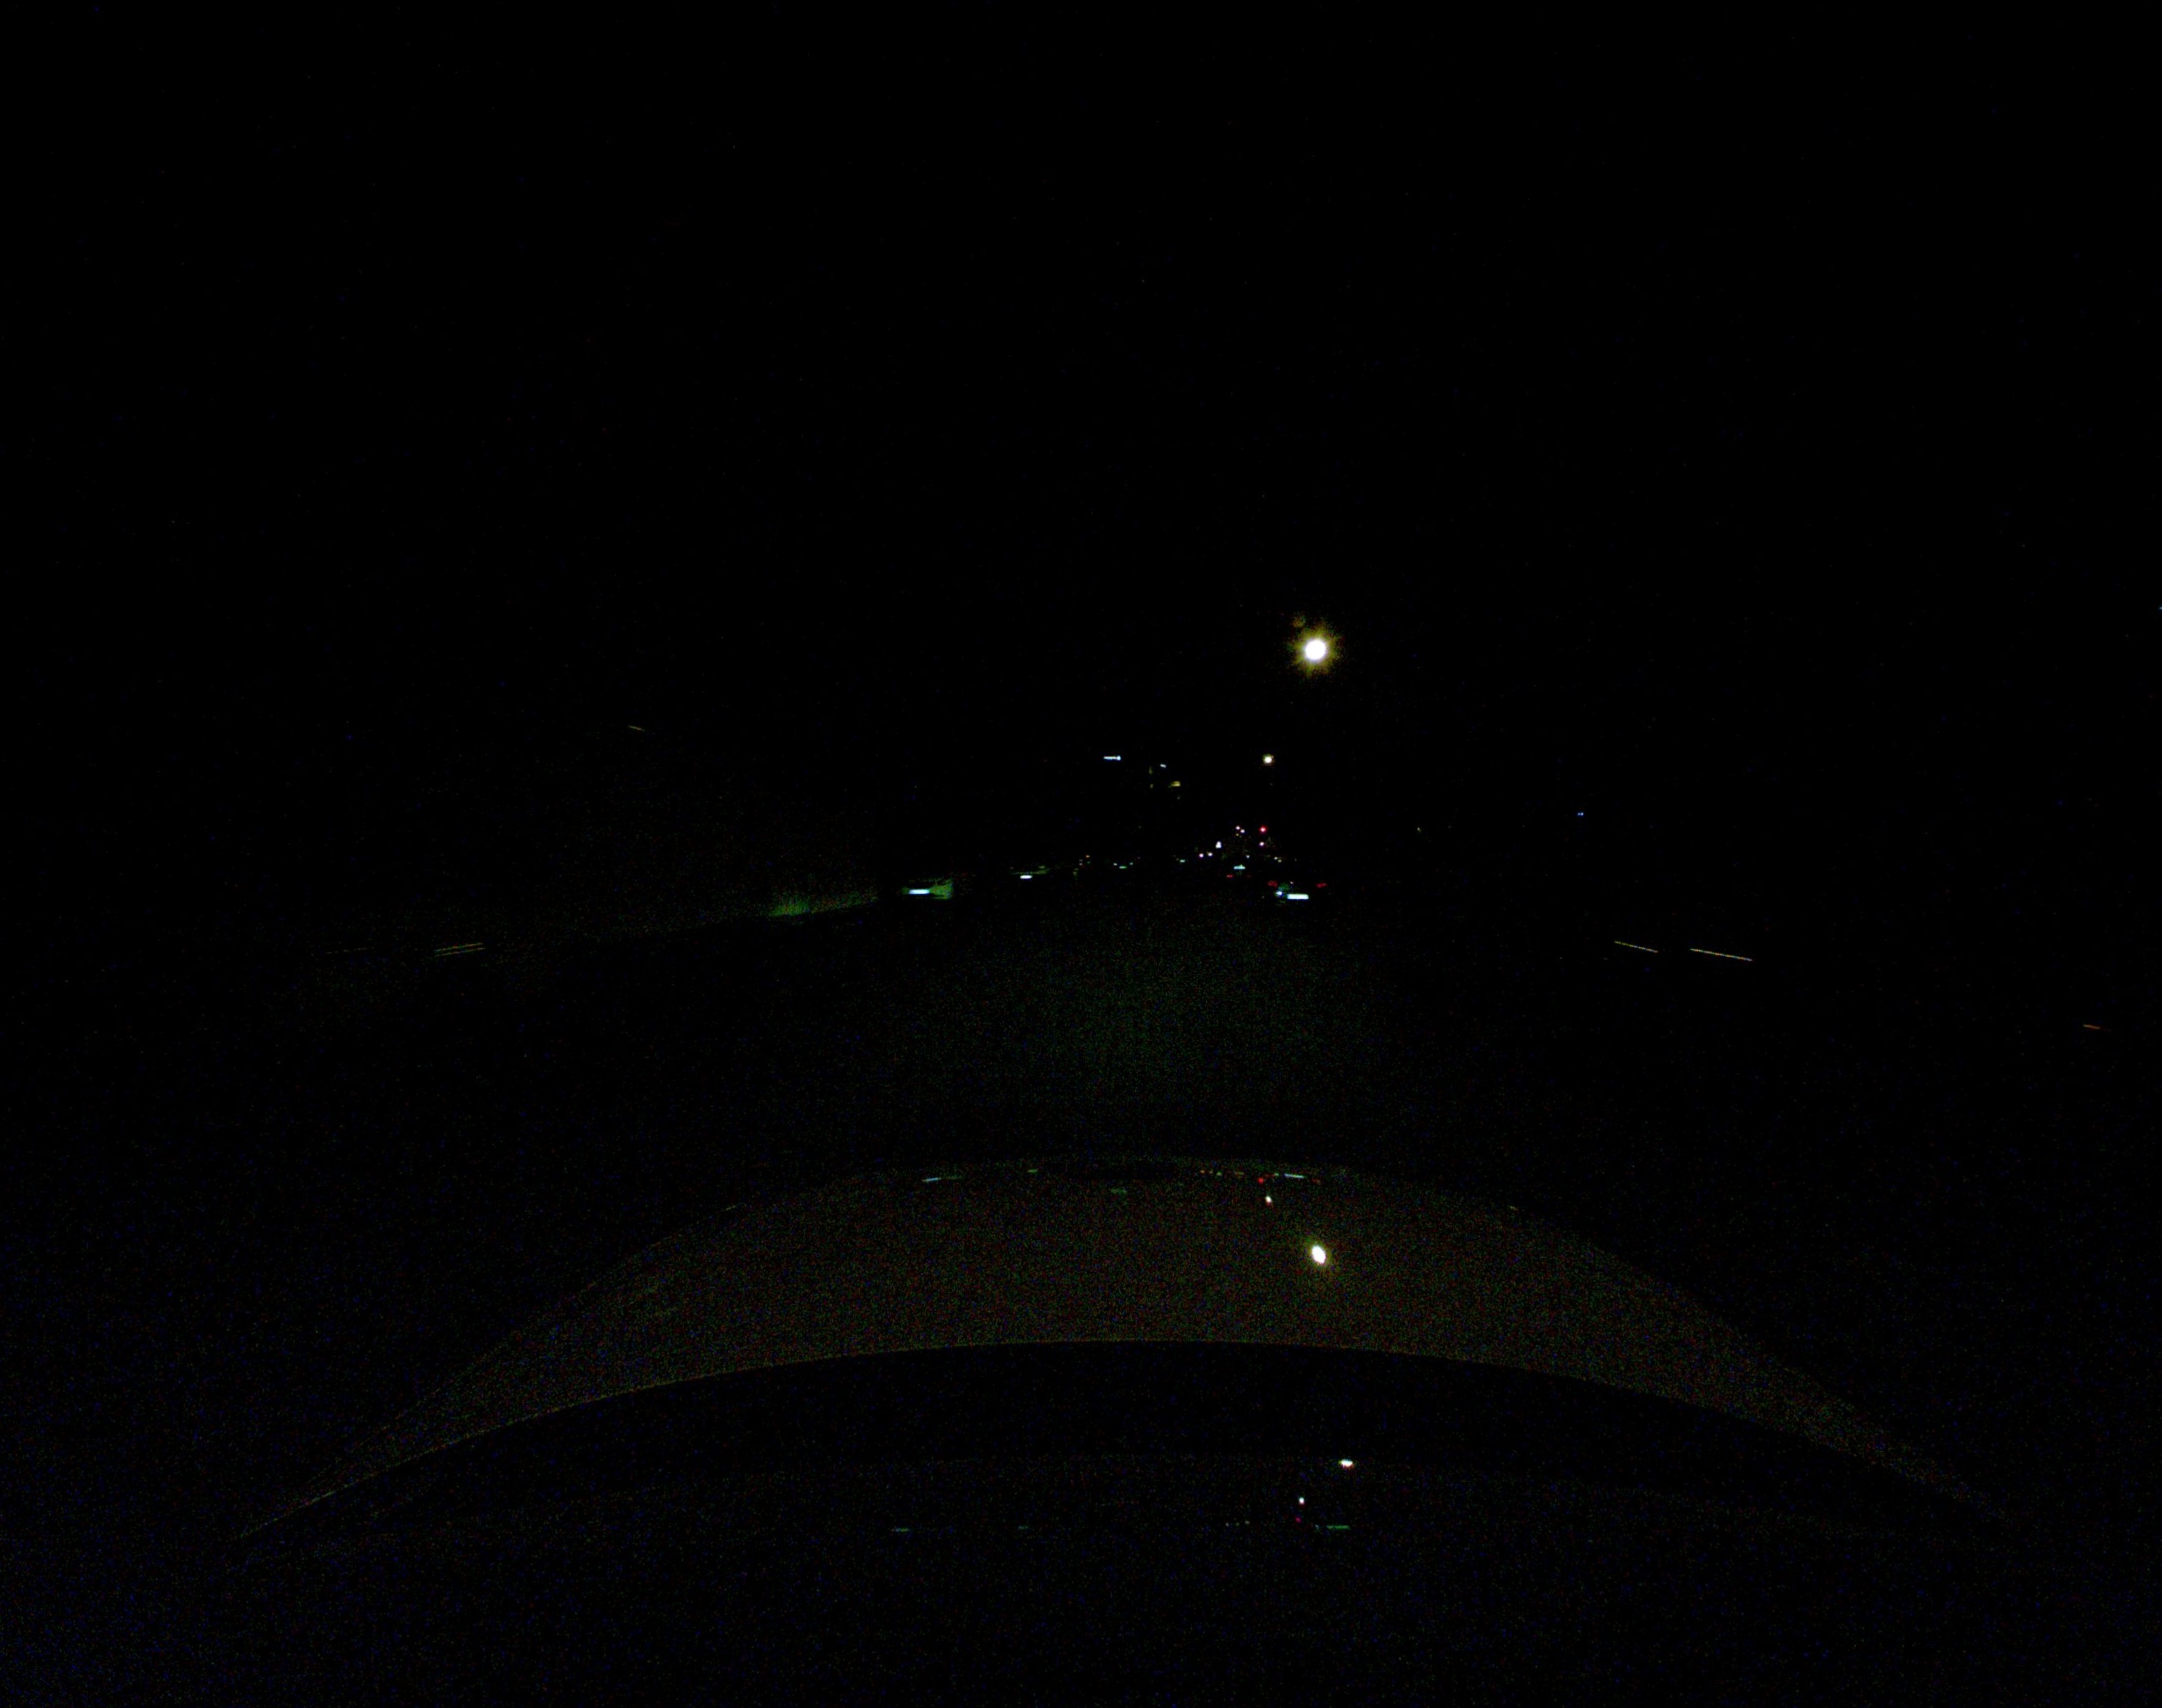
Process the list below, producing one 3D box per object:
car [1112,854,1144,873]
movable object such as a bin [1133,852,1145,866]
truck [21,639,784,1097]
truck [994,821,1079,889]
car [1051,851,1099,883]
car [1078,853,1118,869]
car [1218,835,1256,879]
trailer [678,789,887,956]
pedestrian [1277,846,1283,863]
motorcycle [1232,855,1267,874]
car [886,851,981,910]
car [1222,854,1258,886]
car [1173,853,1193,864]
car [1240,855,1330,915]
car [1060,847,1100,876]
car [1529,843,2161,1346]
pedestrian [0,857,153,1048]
[{"bbox_3d":[3.990,0.792,67.996,1.742,1.526,4.340,0,-1,16],"label":"car"},{"bbox_3d":[6.749,0.592,94.555,1.157,1.496,1.069,-2,0,11],"label":"movable object such as a bin"},{"bbox_3d":[-6.252,0.111,9.485,2.362,3.243,7.241,-1,0,4],"label":"truck"},{"bbox_3d":[-2.217,0.020,43.757,2.526,3.280,7.338,-2,0,13],"label":"truck"},{"bbox_3d":[-0.317,0.766,50.141,1.816,1.816,4.855,-2,0,13],"label":"car"},{"bbox_3d":[1.900,0.724,88.959,3.958,1.571,1.824,-2,0,13],"label":"car"},{"bbox_3d":[9.531,0.166,49.438,2.006,2.526,6.074,0,0,13],"label":"car"},{"bbox_3d":[-5.655,0.314,16.224,2.195,2.795,4.620,-1,0,3],"label":"trailer"},{"bbox_3d":[21.959,0.029,90.031,0.566,1.852,0.823,-2,0,15],"label":"pedestrian"},{"bbox_3d":[11.076,0.676,53.598,0.773,1.183,2.158,0,0,-45],"label":"motorcycle"},{"bbox_3d":[-4.811,0.812,27.327,1.985,1.772,4.697,-1,0,4],"label":"car"},{"bbox_3d":[8.214,0.776,42.325,1.700,1.508,4.653,-1,0,10],"label":"car"},{"bbox_3d":[13.403,0.580,106.879,1.897,1.404,4.355,-2,0,15],"label":"car"},{"bbox_3d":[5.590,0.788,22.732,1.703,1.508,4.003,-1,0,3],"label":"car"},{"bbox_3d":[-0.045,0.649,71.323,1.977,2.321,4.990,-3,0,18],"label":"car"},{"bbox_3d":[4.140,0.736,4.264,1.602,1.512,3.827,1,0,2],"label":"car"},{"bbox_3d":[-9.738,0.886,7.759,0.770,1.671,1.013,-2,0,29],"label":"pedestrian"}]
